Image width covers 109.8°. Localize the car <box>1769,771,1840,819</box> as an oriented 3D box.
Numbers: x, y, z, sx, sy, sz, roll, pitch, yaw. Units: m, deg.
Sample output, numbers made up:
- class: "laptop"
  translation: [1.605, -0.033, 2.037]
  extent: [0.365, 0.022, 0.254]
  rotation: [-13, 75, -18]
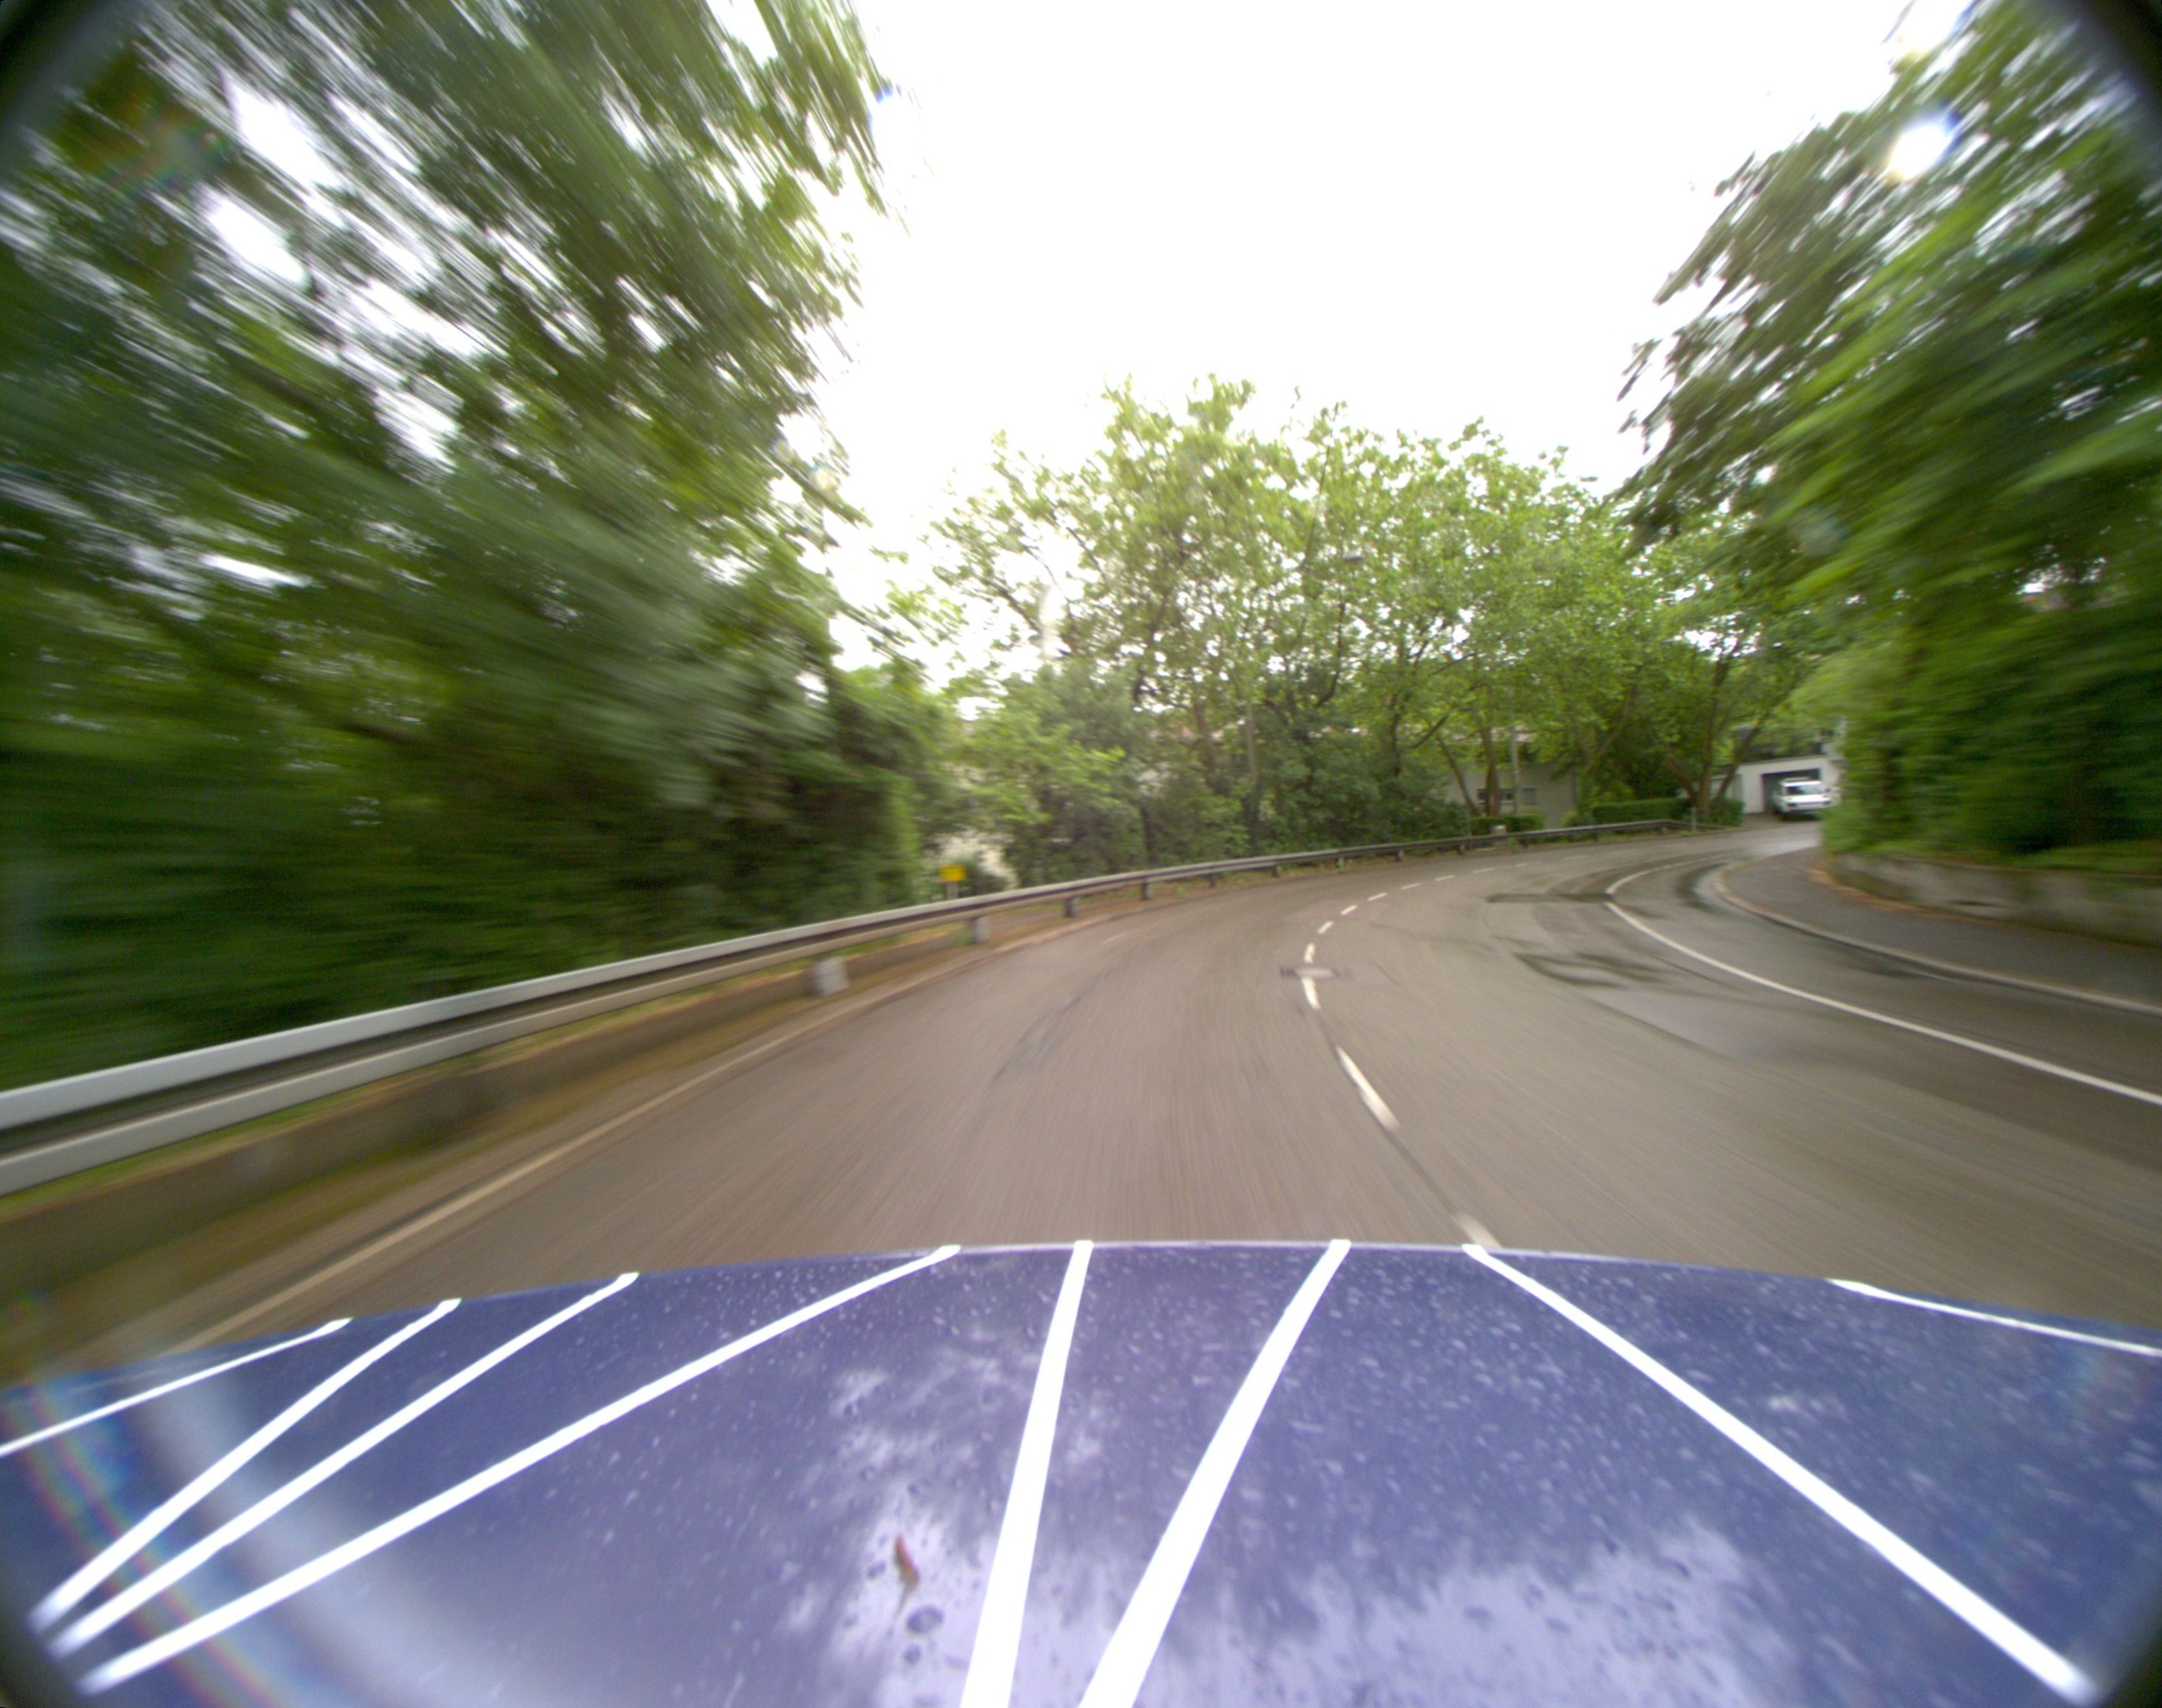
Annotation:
- class: "car"
  translation: [38.287, -3.163, 40.331]
  extent: [1.953, 1.915, 4.270]
  rotation: [-4, 7, 34]
